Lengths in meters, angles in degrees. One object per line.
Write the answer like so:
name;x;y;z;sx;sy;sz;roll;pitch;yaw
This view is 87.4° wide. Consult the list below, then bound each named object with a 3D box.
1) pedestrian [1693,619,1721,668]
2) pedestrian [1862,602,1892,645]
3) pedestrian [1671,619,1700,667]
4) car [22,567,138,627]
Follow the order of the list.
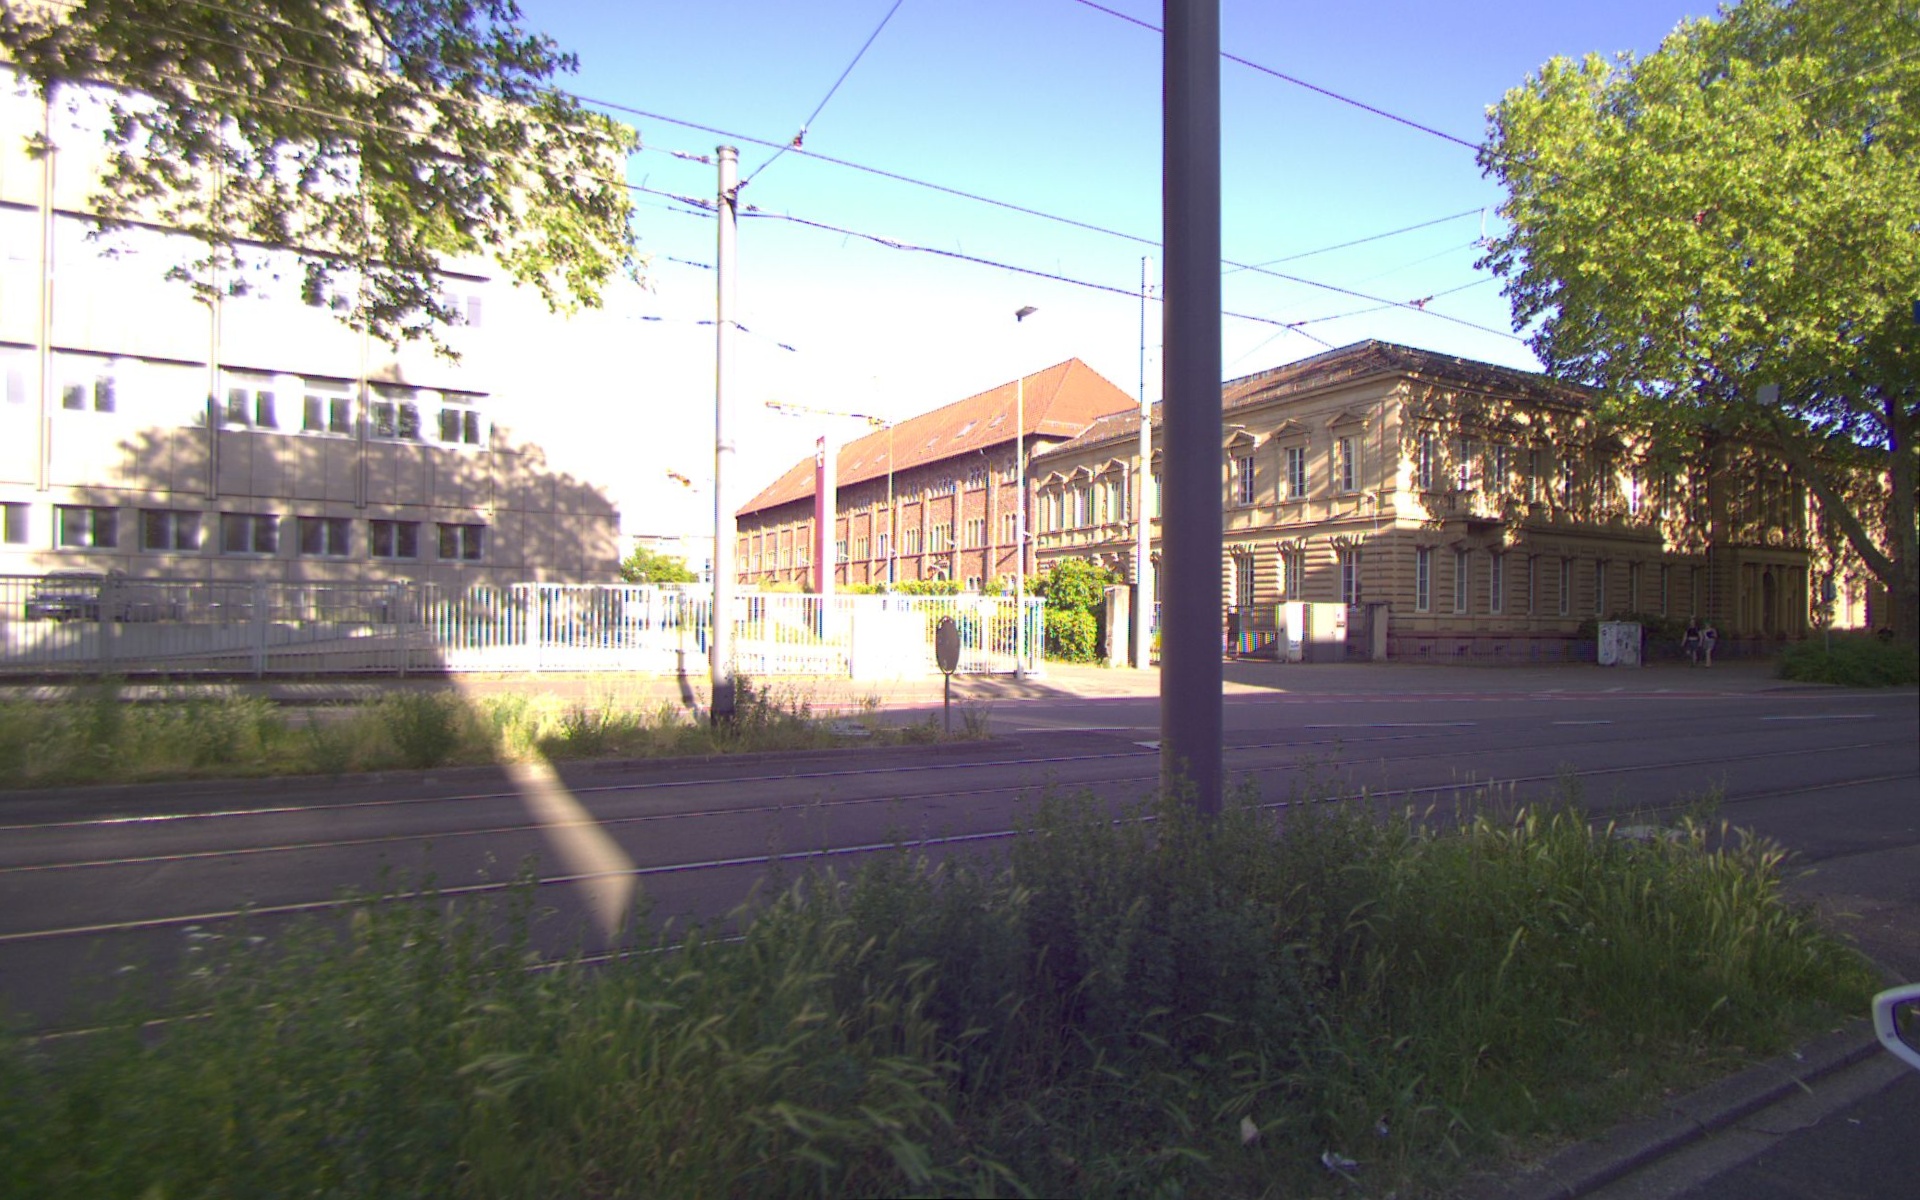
pedestrian;27.081;1.571;36.409;0.650;1.720;0.629;1;0;-36
pedestrian;40.481;1.053;44.348;0.827;1.874;0.716;1;0;-29
pedestrian;26.690;1.564;36.950;0.656;1.720;0.666;1;0;-36
car;-27.511;-0.077;31.553;1.831;1.742;4.249;1;0;-29
